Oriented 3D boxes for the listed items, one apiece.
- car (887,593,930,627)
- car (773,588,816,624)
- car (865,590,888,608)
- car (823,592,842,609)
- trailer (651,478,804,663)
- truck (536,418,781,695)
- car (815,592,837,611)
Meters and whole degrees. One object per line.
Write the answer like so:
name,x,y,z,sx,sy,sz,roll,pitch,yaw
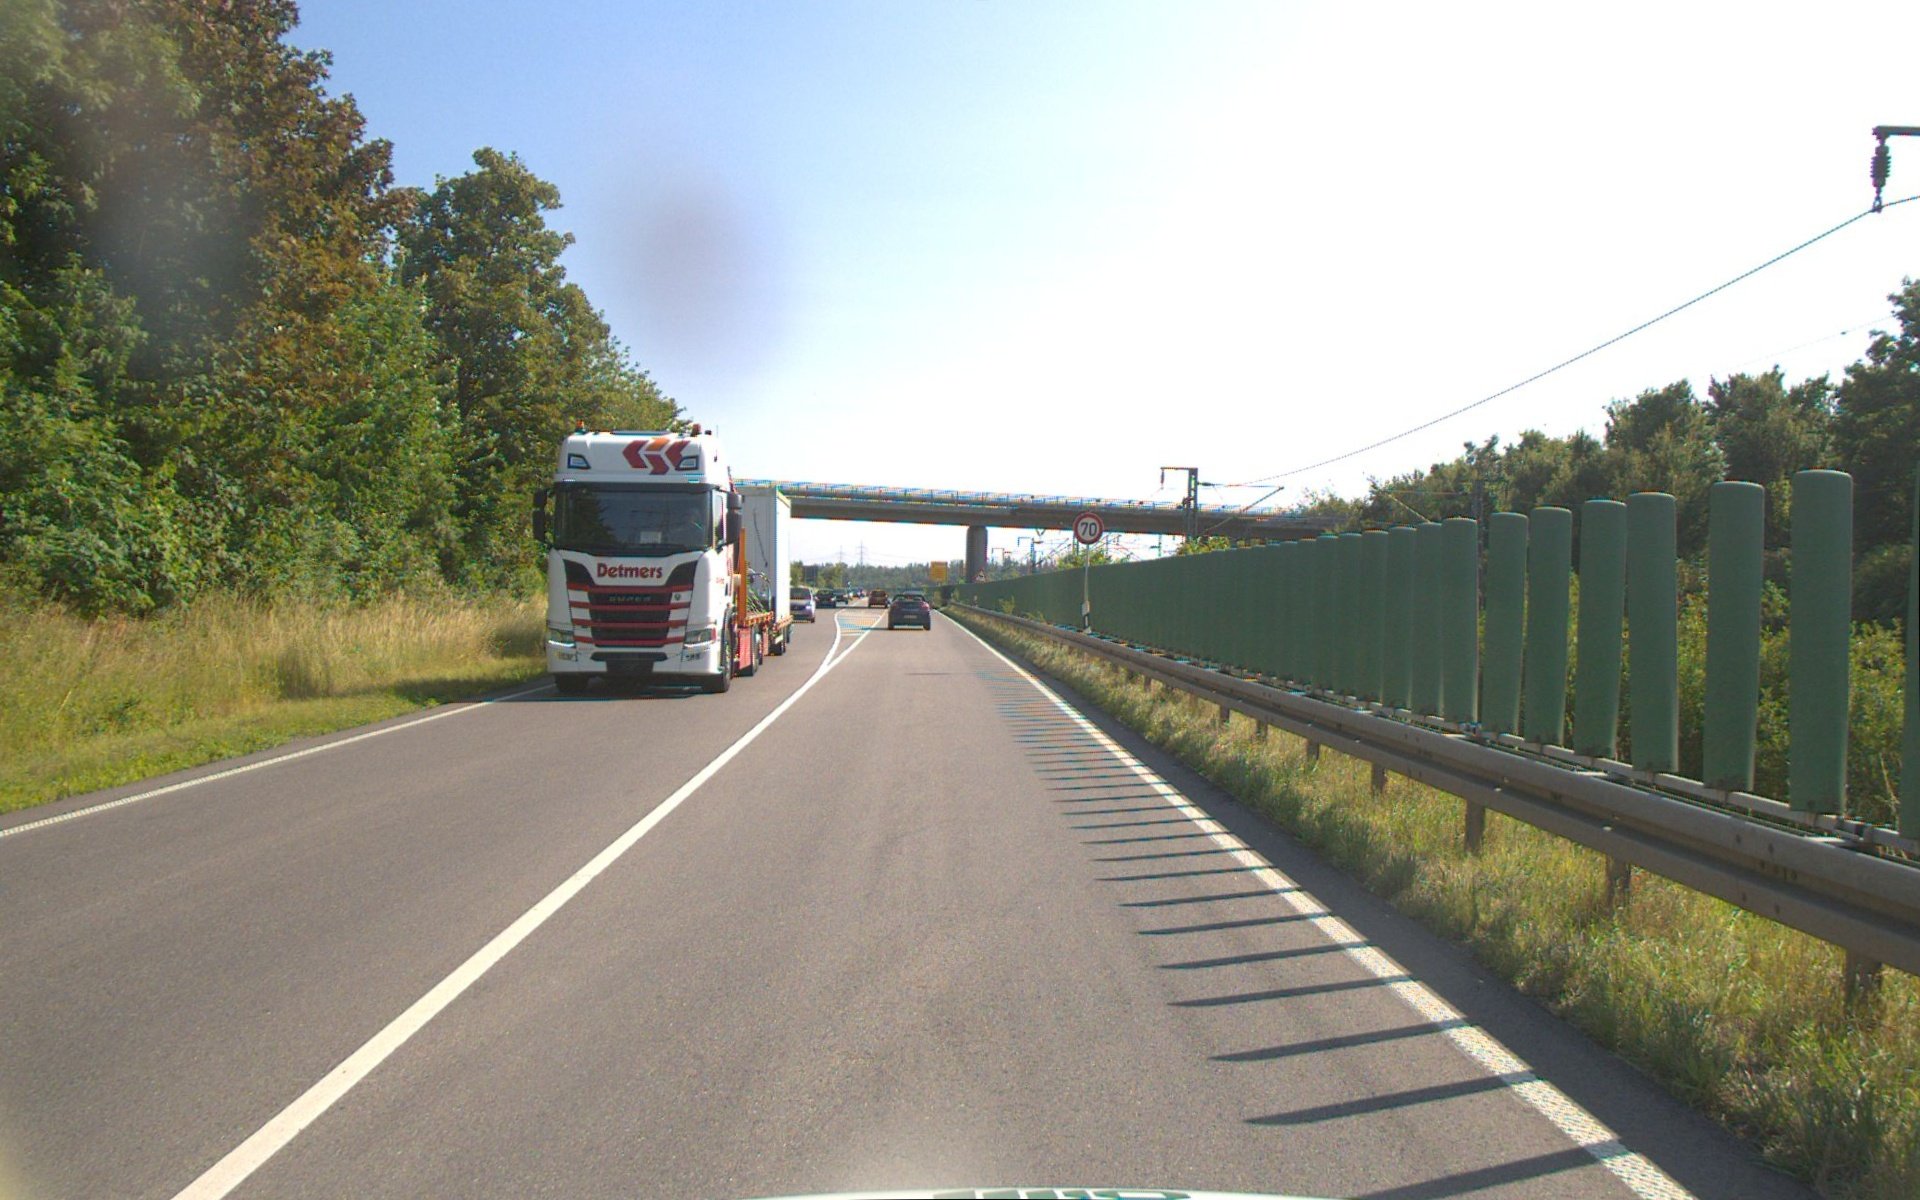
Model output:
car,-2.022,0.370,64.484,1.630,1.283,3.998,1,0,-2
car,-7.419,0.252,74.421,1.820,1.587,3.997,0,1,-4
car,-7.196,-0.085,143.039,1.857,1.443,3.998,1,0,-2
car,-13.291,0.028,172.357,1.884,1.620,4.425,1,0,-5
trailer,-5.042,-0.624,37.254,2.508,3.658,8.289,1,0,-2
truck,-4.687,-0.628,27.846,2.508,3.753,10.483,1,0,-2
car,-10.815,0.091,133.420,1.715,1.507,3.997,1,0,-4
